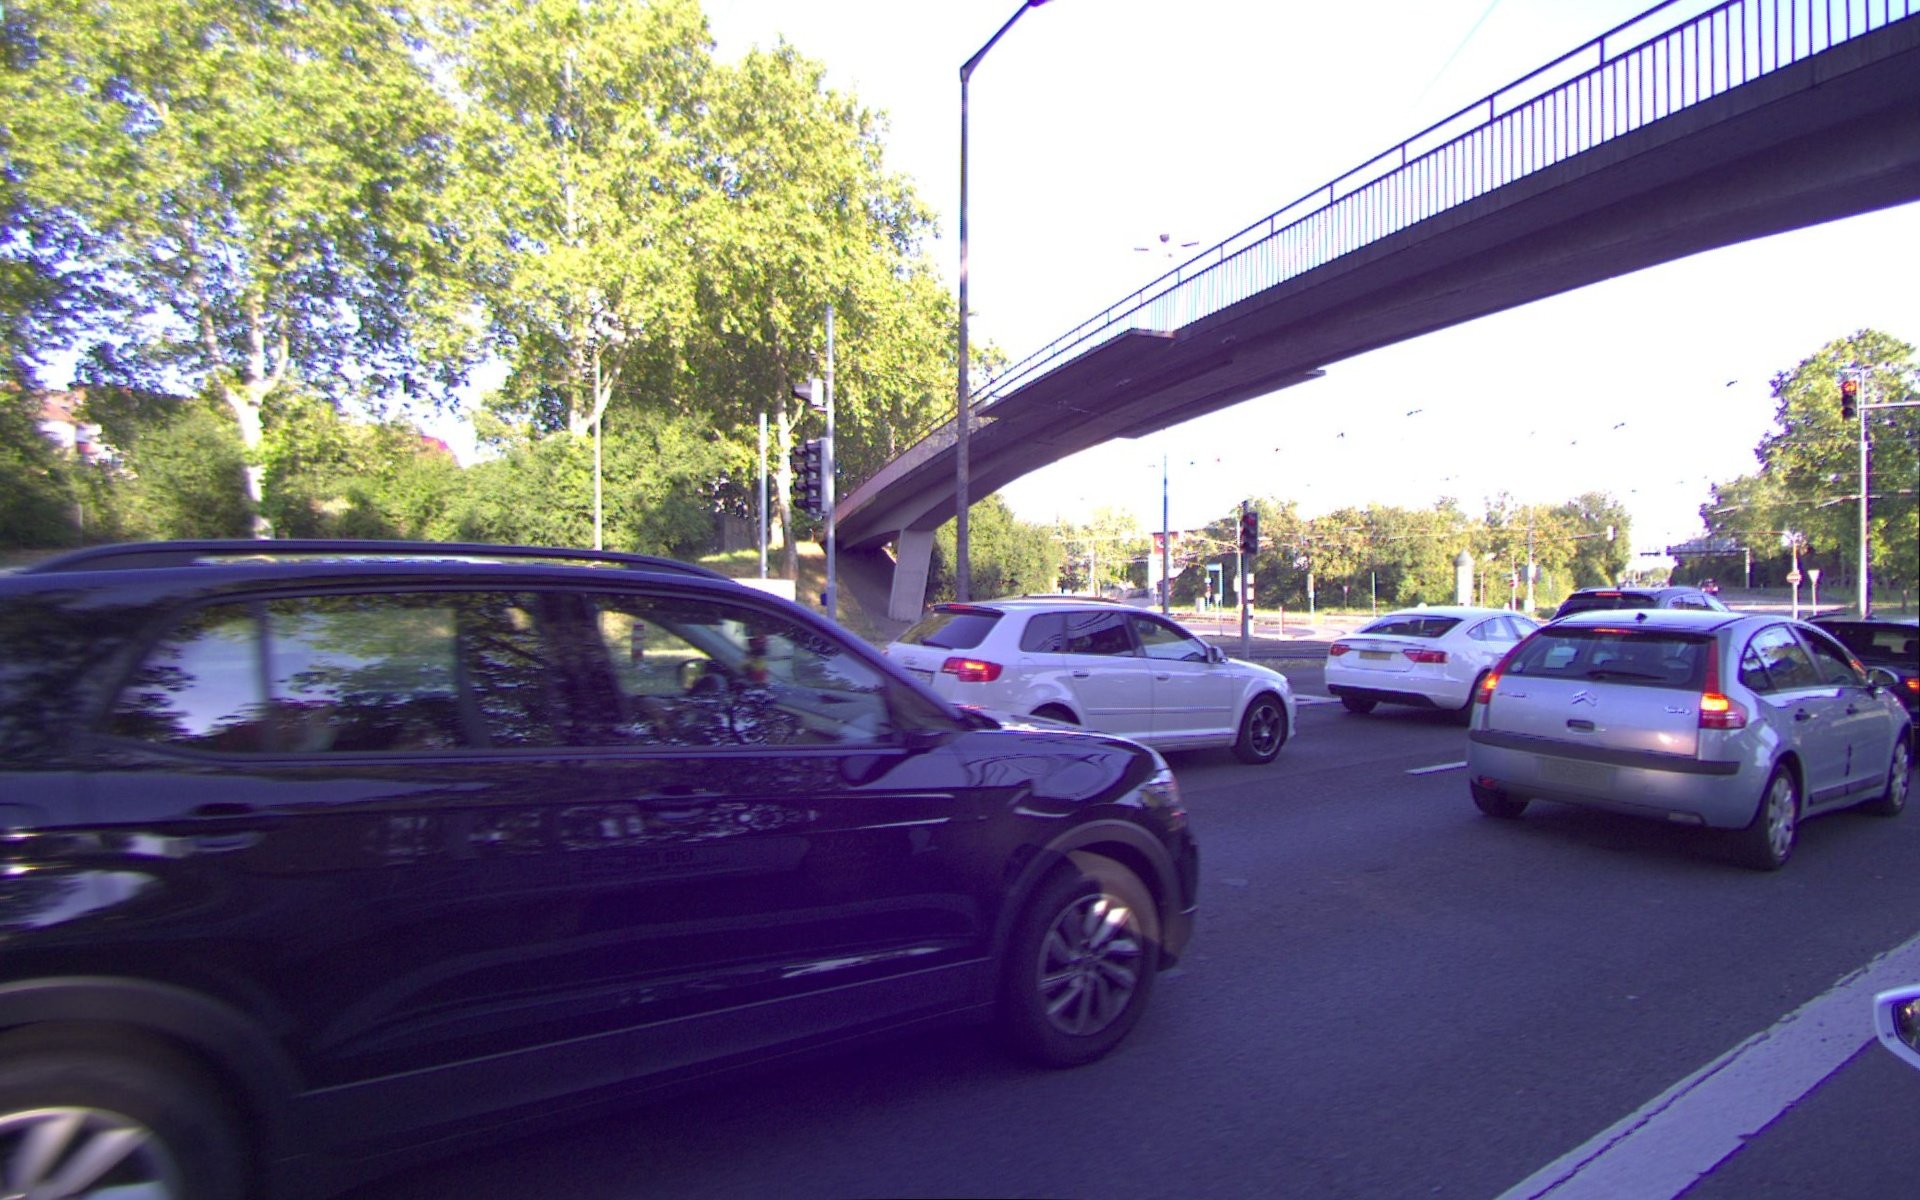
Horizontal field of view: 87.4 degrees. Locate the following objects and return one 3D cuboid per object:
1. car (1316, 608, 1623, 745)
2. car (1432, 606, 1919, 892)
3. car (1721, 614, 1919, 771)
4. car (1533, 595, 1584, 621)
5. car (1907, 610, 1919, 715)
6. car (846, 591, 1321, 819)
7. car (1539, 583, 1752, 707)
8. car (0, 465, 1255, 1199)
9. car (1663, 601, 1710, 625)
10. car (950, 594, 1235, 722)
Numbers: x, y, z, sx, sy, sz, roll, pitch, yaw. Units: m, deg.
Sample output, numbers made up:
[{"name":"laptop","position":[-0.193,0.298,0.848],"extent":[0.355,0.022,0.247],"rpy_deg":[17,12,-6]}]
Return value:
[{"name":"car","position":[6.685,0.852,13.005],"extent":[4.368,1.451,1.730],"rpy_deg":[0,1,-36]},{"name":"car","position":[5.320,0.827,7.220],"extent":[3.961,1.501,1.781],"rpy_deg":[0,-2,-36]},{"name":"car","position":[10.153,0.870,10.900],"extent":[4.432,1.401,1.780],"rpy_deg":[0,-2,-36]},{"name":"car","position":[43.615,0.556,73.189],"extent":[3.963,1.795,1.865],"rpy_deg":[0,1,-37]},{"name":"car","position":[15.383,0.839,14.475],"extent":[3.961,1.461,1.781],"rpy_deg":[0,-2,-36]},{"name":"car","position":[1.215,0.761,8.890],"extent":[4.149,1.586,1.652],"rpy_deg":[0,-2,-36]},{"name":"car","position":[11.708,0.701,17.027],"extent":[4.788,1.816,1.777],"rpy_deg":[0,-2,-41]},{"name":"car","position":[-1.078,0.691,3.160],"extent":[3.961,1.773,1.780],"rpy_deg":[0,-2,-36]},{"name":"car","position":[56.341,0.976,77.897],"extent":[3.963,1.795,1.865],"rpy_deg":[0,1,-37]},{"name":"car","position":[1.949,0.743,14.299],"extent":[3.961,1.586,1.652],"rpy_deg":[0,-2,-36]}]
